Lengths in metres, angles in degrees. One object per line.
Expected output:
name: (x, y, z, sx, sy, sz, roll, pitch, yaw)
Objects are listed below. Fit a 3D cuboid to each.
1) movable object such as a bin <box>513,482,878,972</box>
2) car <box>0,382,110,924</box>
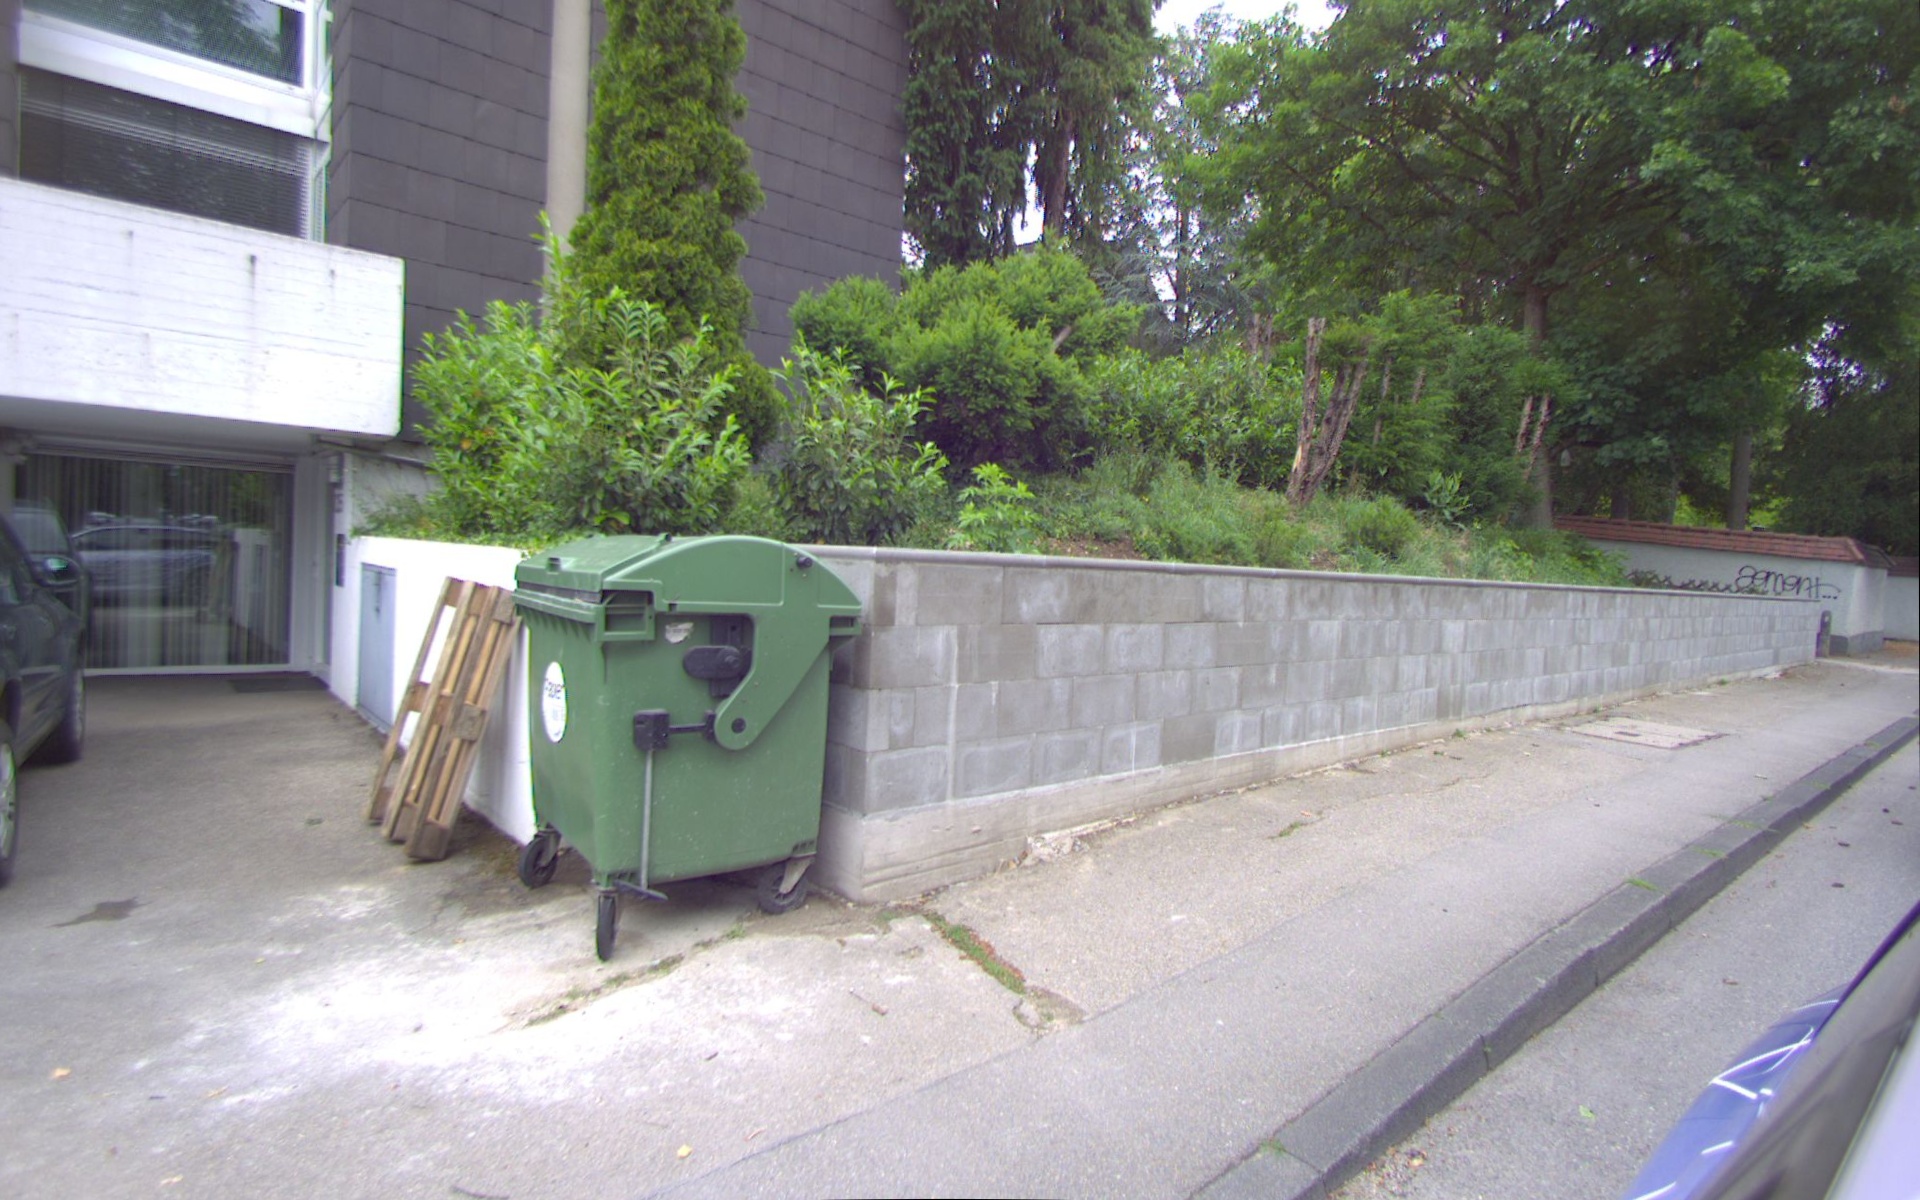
movable object such as a bin: (-1.041, 0.377, 3.913, 1.014, 1.549, 1.037, 0, 2, -39)
car: (-5.020, 0.079, 4.366, 1.798, 1.771, 3.987, 0, 3, -36)
